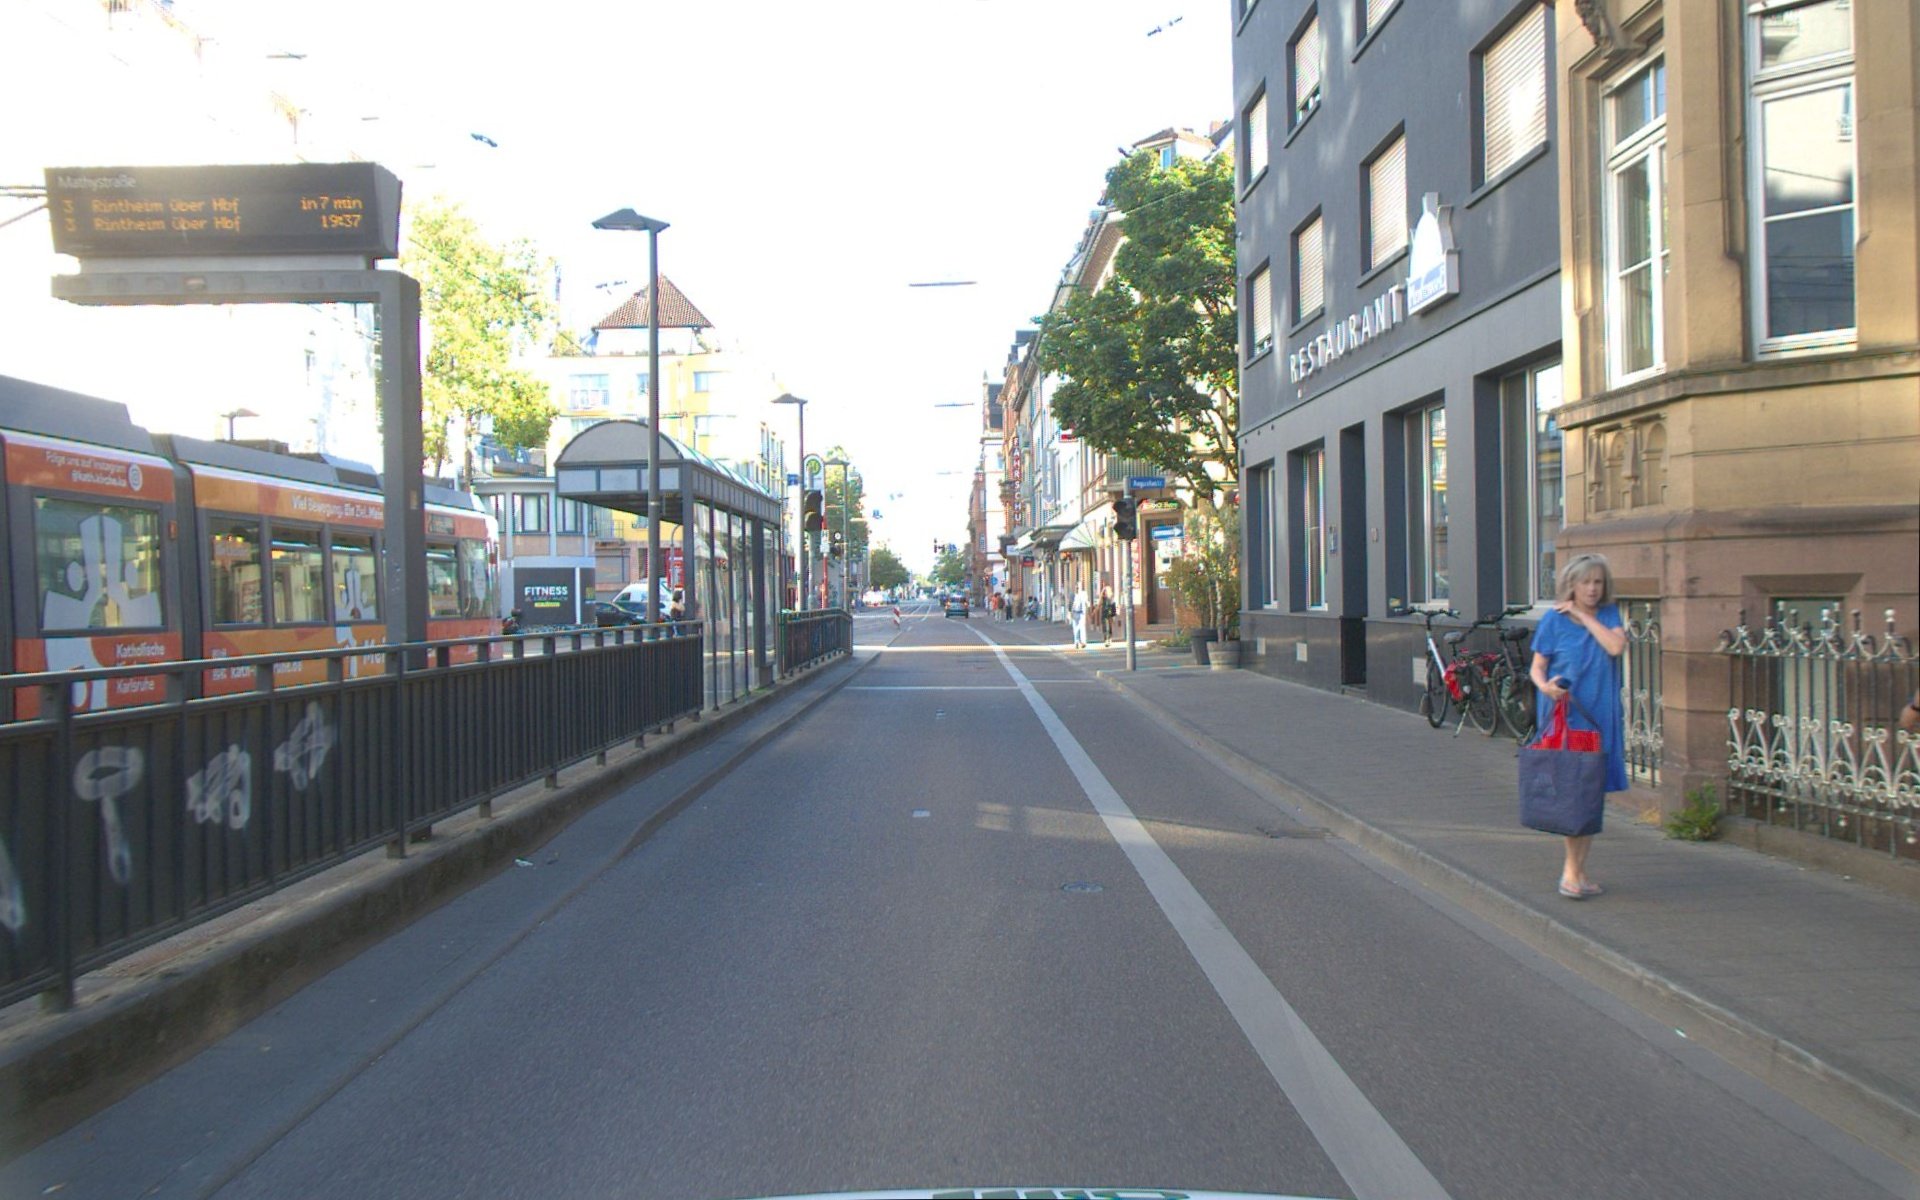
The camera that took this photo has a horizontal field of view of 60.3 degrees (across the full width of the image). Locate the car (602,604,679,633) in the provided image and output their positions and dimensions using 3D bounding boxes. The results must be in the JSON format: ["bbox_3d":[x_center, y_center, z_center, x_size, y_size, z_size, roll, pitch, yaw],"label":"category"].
[{"bbox_3d":[-17.914,1.039,92.884,3.905,1.537,1.800,1,-1,0],"label":"car"}]

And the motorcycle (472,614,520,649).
[{"bbox_3d":[-19.126,1.300,68.206,1.760,1.320,0.605,3,-1,-7],"label":"motorcycle"}]

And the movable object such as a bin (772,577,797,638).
[{"bbox_3d":[-2.777,0.116,26.182,0.345,0.961,0.530,0,-1,-2],"label":"movable object such as a bin"}]

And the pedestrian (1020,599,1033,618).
[{"bbox_3d":[3.643,0.474,90.220,0.676,1.062,0.681,0,-1,3],"label":"pedestrian"}]

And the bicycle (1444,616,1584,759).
[{"bbox_3d":[4.636,0.699,13.962,0.579,1.089,1.804,-2,0,1],"label":"bicycle"}]

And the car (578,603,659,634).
[{"bbox_3d":[-18.093,0.982,87.770,3.905,1.537,1.800,1,-1,0],"label":"car"}]

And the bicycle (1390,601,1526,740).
[{"bbox_3d":[4.735,0.635,15.855,0.611,1.219,1.907,-2,0,-2],"label":"bicycle"}]

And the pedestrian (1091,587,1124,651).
[{"bbox_3d":[3.906,0.495,43.773,0.699,1.630,0.772,-2,0,-4],"label":"pedestrian"}]

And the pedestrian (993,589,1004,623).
[{"bbox_3d":[2.105,0.324,90.867,0.548,1.828,0.651,0,-1,6],"label":"pedestrian"}]

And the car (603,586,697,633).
[{"bbox_3d":[-17.869,0.557,95.471,5.001,2.621,2.128,1,-1,0],"label":"car"}]

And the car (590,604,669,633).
[{"bbox_3d":[-18.018,1.011,90.352,3.905,1.537,1.800,1,-1,0],"label":"car"}]

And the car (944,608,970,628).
[{"bbox_3d":[-0.233,1.346,126.145,1.953,1.475,3.999,1,-1,-1],"label":"car"}]

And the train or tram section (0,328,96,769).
[{"bbox_3d":[-9.033,-0.348,7.581,2.827,3.551,14.165,-2,0,-1],"label":"train or tram section"}]

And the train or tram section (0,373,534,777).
[{"bbox_3d":[-9.127,-0.218,22.152,2.826,3.551,14.950,-2,0,0],"label":"train or tram section"}]

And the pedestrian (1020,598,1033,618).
[{"bbox_3d":[3.661,0.436,90.993,0.676,1.062,0.681,0,-1,3],"label":"pedestrian"}]

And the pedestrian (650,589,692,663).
[{"bbox_3d":[-6.976,0.617,39.964,0.852,1.744,0.787,2,0,-3],"label":"pedestrian"}]

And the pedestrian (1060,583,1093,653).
[{"bbox_3d":[3.074,0.477,43.686,0.699,1.805,0.772,-2,0,-4],"label":"pedestrian"}]

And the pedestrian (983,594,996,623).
[{"bbox_3d":[1.970,0.570,110.423,0.826,1.951,0.661,0,-1,-3],"label":"pedestrian"}]

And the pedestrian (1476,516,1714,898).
[{"bbox_3d":[2.948,0.472,7.751,0.747,1.674,0.832,-1,0,-1],"label":"pedestrian"}]

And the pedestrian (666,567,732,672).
[{"bbox_3d":[-3.009,0.223,19.100,0.671,1.196,0.537,0,-1,0],"label":"pedestrian"}]

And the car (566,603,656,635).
[{"bbox_3d":[-17.940,0.968,85.192,4.231,1.537,1.800,1,-1,0],"label":"car"}]

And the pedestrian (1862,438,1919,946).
[{"bbox_3d":[3.894,0.332,5.982,0.784,1.856,0.797,-1,0,-1],"label":"pedestrian"}]

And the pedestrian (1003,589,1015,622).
[{"bbox_3d":[2.685,0.302,91.416,0.635,1.828,0.562,0,-1,3],"label":"pedestrian"}]
